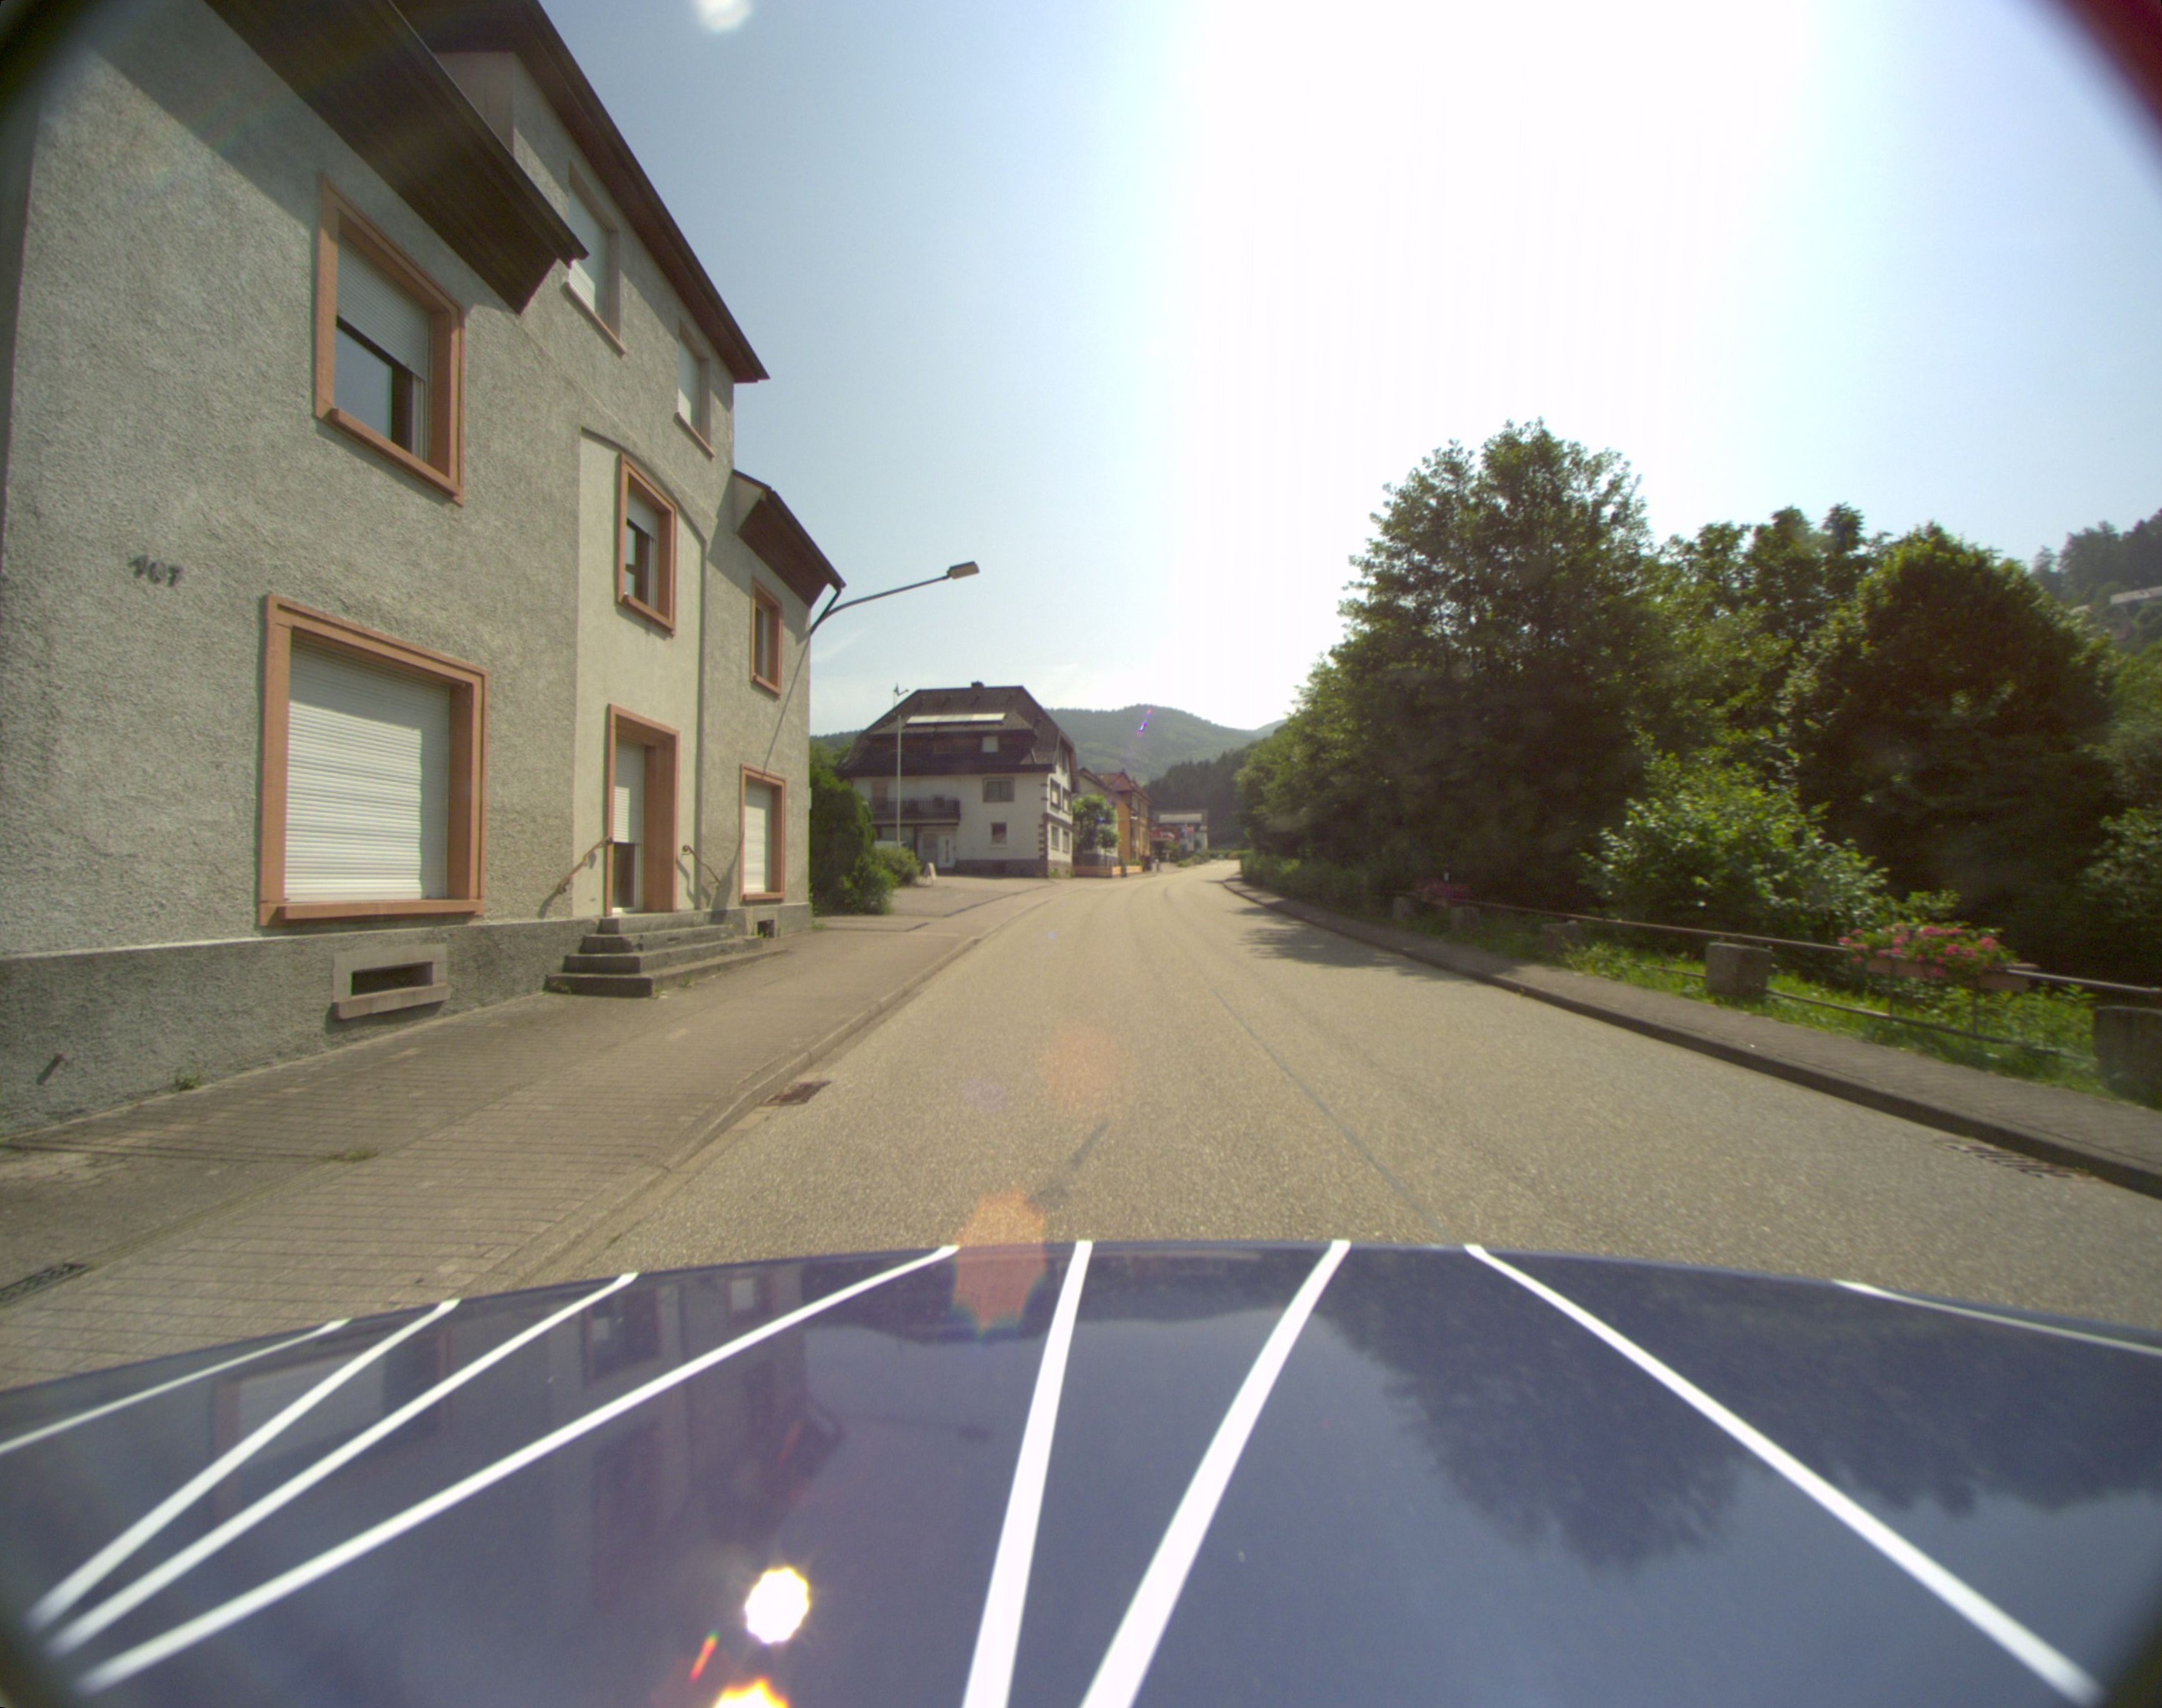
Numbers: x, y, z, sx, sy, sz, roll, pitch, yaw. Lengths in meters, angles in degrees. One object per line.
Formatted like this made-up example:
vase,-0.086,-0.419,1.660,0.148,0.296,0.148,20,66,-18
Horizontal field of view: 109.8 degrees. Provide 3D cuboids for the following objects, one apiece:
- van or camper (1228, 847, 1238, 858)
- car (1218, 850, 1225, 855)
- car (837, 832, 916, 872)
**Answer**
van or camper,42.116,-0.471,209.844,2.361,2.936,8.060,1,0,14
car,38.648,-0.347,208.970,1.592,1.474,3.761,1,0,15
car,-11.914,-0.134,44.358,4.014,1.973,1.636,4,2,5
